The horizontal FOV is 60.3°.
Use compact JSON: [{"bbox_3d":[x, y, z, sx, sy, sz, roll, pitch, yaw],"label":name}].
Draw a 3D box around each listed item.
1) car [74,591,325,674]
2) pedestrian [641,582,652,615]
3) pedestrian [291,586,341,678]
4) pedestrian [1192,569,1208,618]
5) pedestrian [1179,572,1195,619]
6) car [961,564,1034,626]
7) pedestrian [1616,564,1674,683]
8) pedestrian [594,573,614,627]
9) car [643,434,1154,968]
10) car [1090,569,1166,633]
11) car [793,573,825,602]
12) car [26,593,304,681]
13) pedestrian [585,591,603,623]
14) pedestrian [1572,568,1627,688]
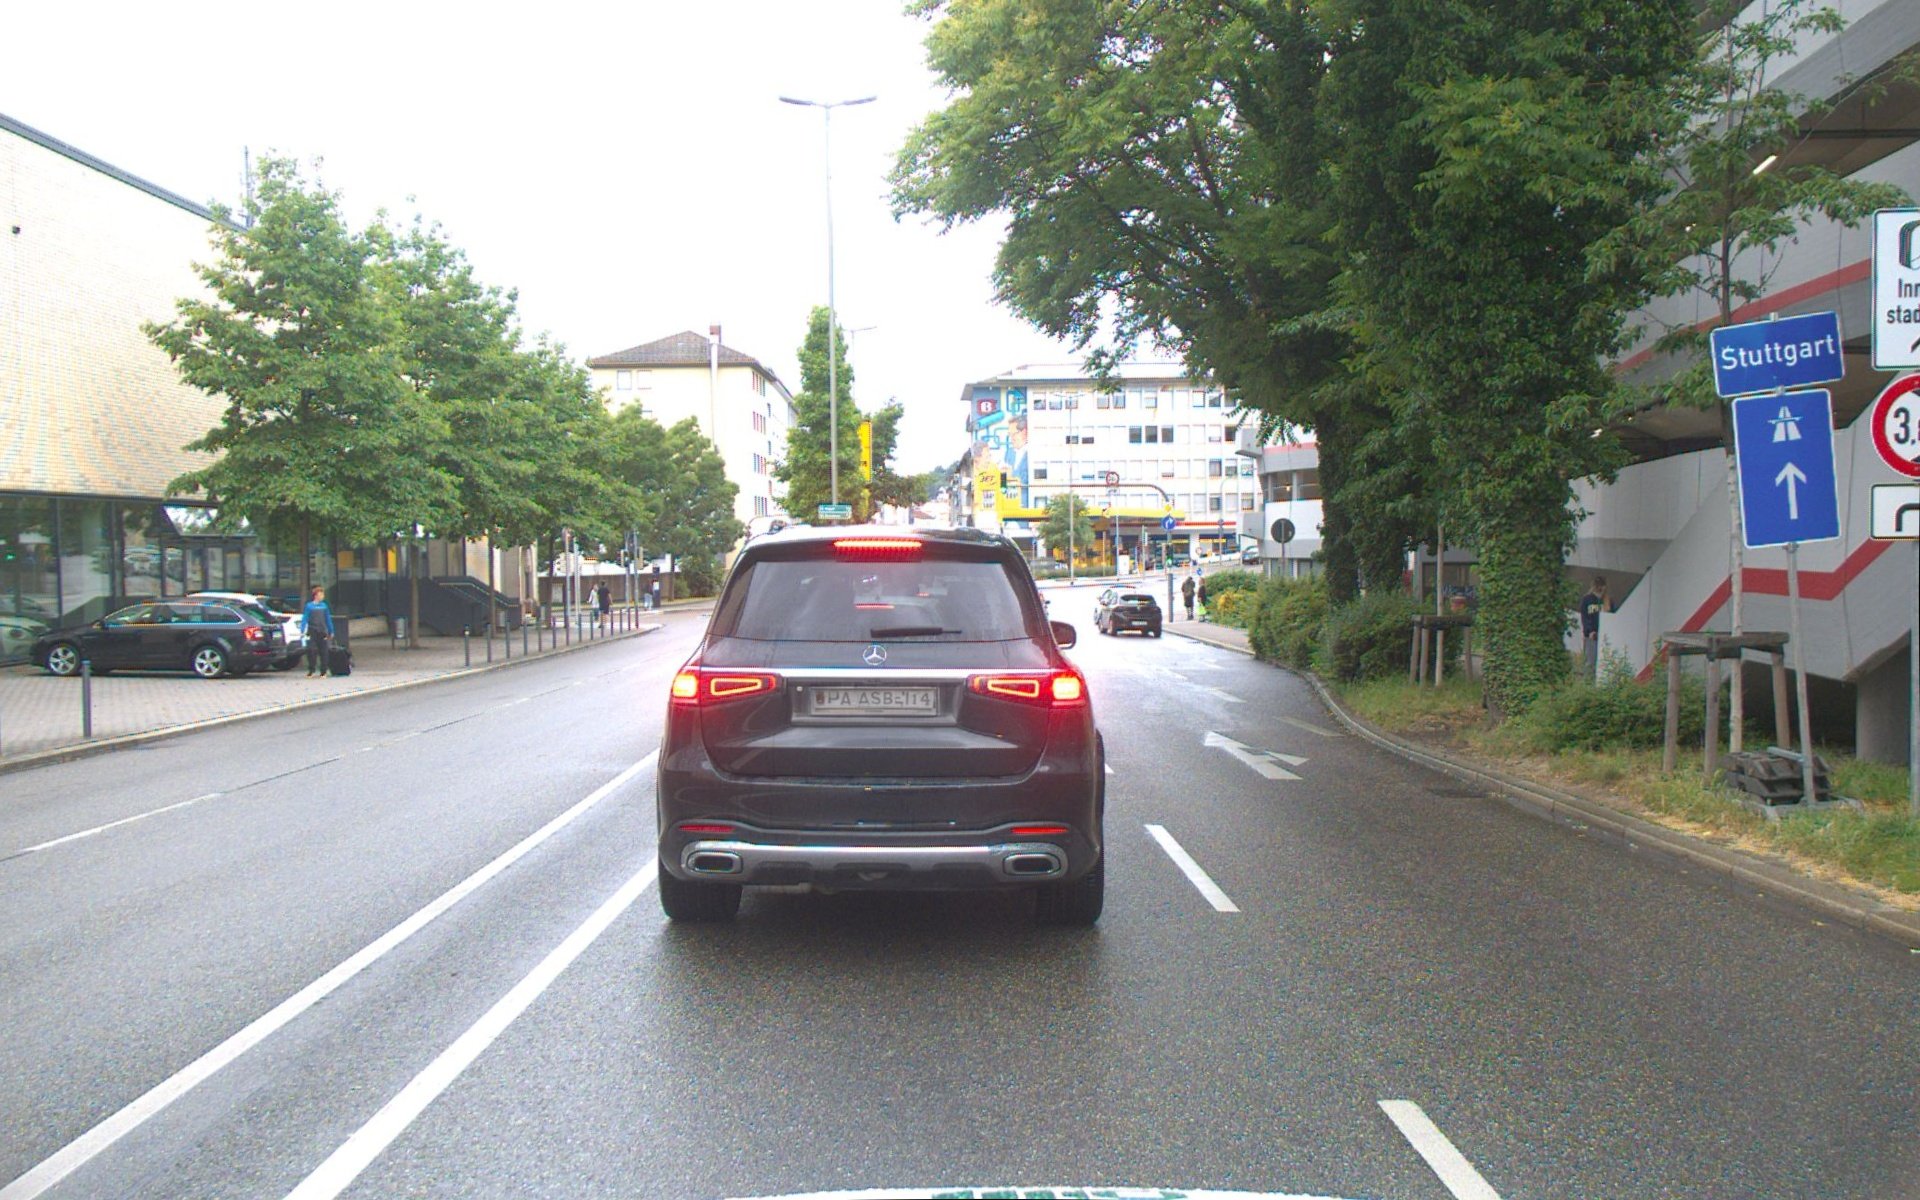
[{"bbox_3d":[-15.820,0.657,34.585,4.331,1.601,1.998,1,2,-6],"label":"car"},{"bbox_3d":[-16.083,-0.074,84.835,0.391,1.673,0.567,1,-1,-1],"label":"pedestrian"},{"bbox_3d":[-12.642,0.615,32.474,0.675,1.755,0.754,1,1,-2],"label":"pedestrian"},{"bbox_3d":[9.522,-0.248,65.527,0.509,1.944,0.556,1,-1,-1],"label":"pedestrian"},{"bbox_3d":[9.525,-0.186,69.352,0.607,1.969,0.610,1,-1,4],"label":"pedestrian"},{"bbox_3d":[1.247,-0.153,57.424,1.956,2.049,3.994,1,0,-7],"label":"car"},{"bbox_3d":[9.009,0.307,21.763,0.569,1.528,0.504,1,-1,4],"label":"pedestrian"},{"bbox_3d":[-13.584,0.004,63.151,0.576,2.049,0.749,-1,1,-3],"label":"pedestrian"},{"bbox_3d":[-0.305,0.414,8.452,1.953,2.049,3.998,1,0,-2],"label":"car"},{"bbox_3d":[5.570,0.016,55.202,1.954,2.049,3.998,0,1,-3],"label":"car"},{"bbox_3d":[-10.525,-0.865,115.344,1.954,1.908,5.139,1,0,-3],"label":"car"},{"bbox_3d":[-15.218,0.686,31.877,4.383,1.615,1.997,0,0,-8],"label":"car"},{"bbox_3d":[-17.145,0.348,77.566,0.697,1.487,0.598,1,-1,-2],"label":"pedestrian"},{"bbox_3d":[8.429,0.367,21.814,0.539,1.559,0.488,1,-1,5],"label":"pedestrian"}]
